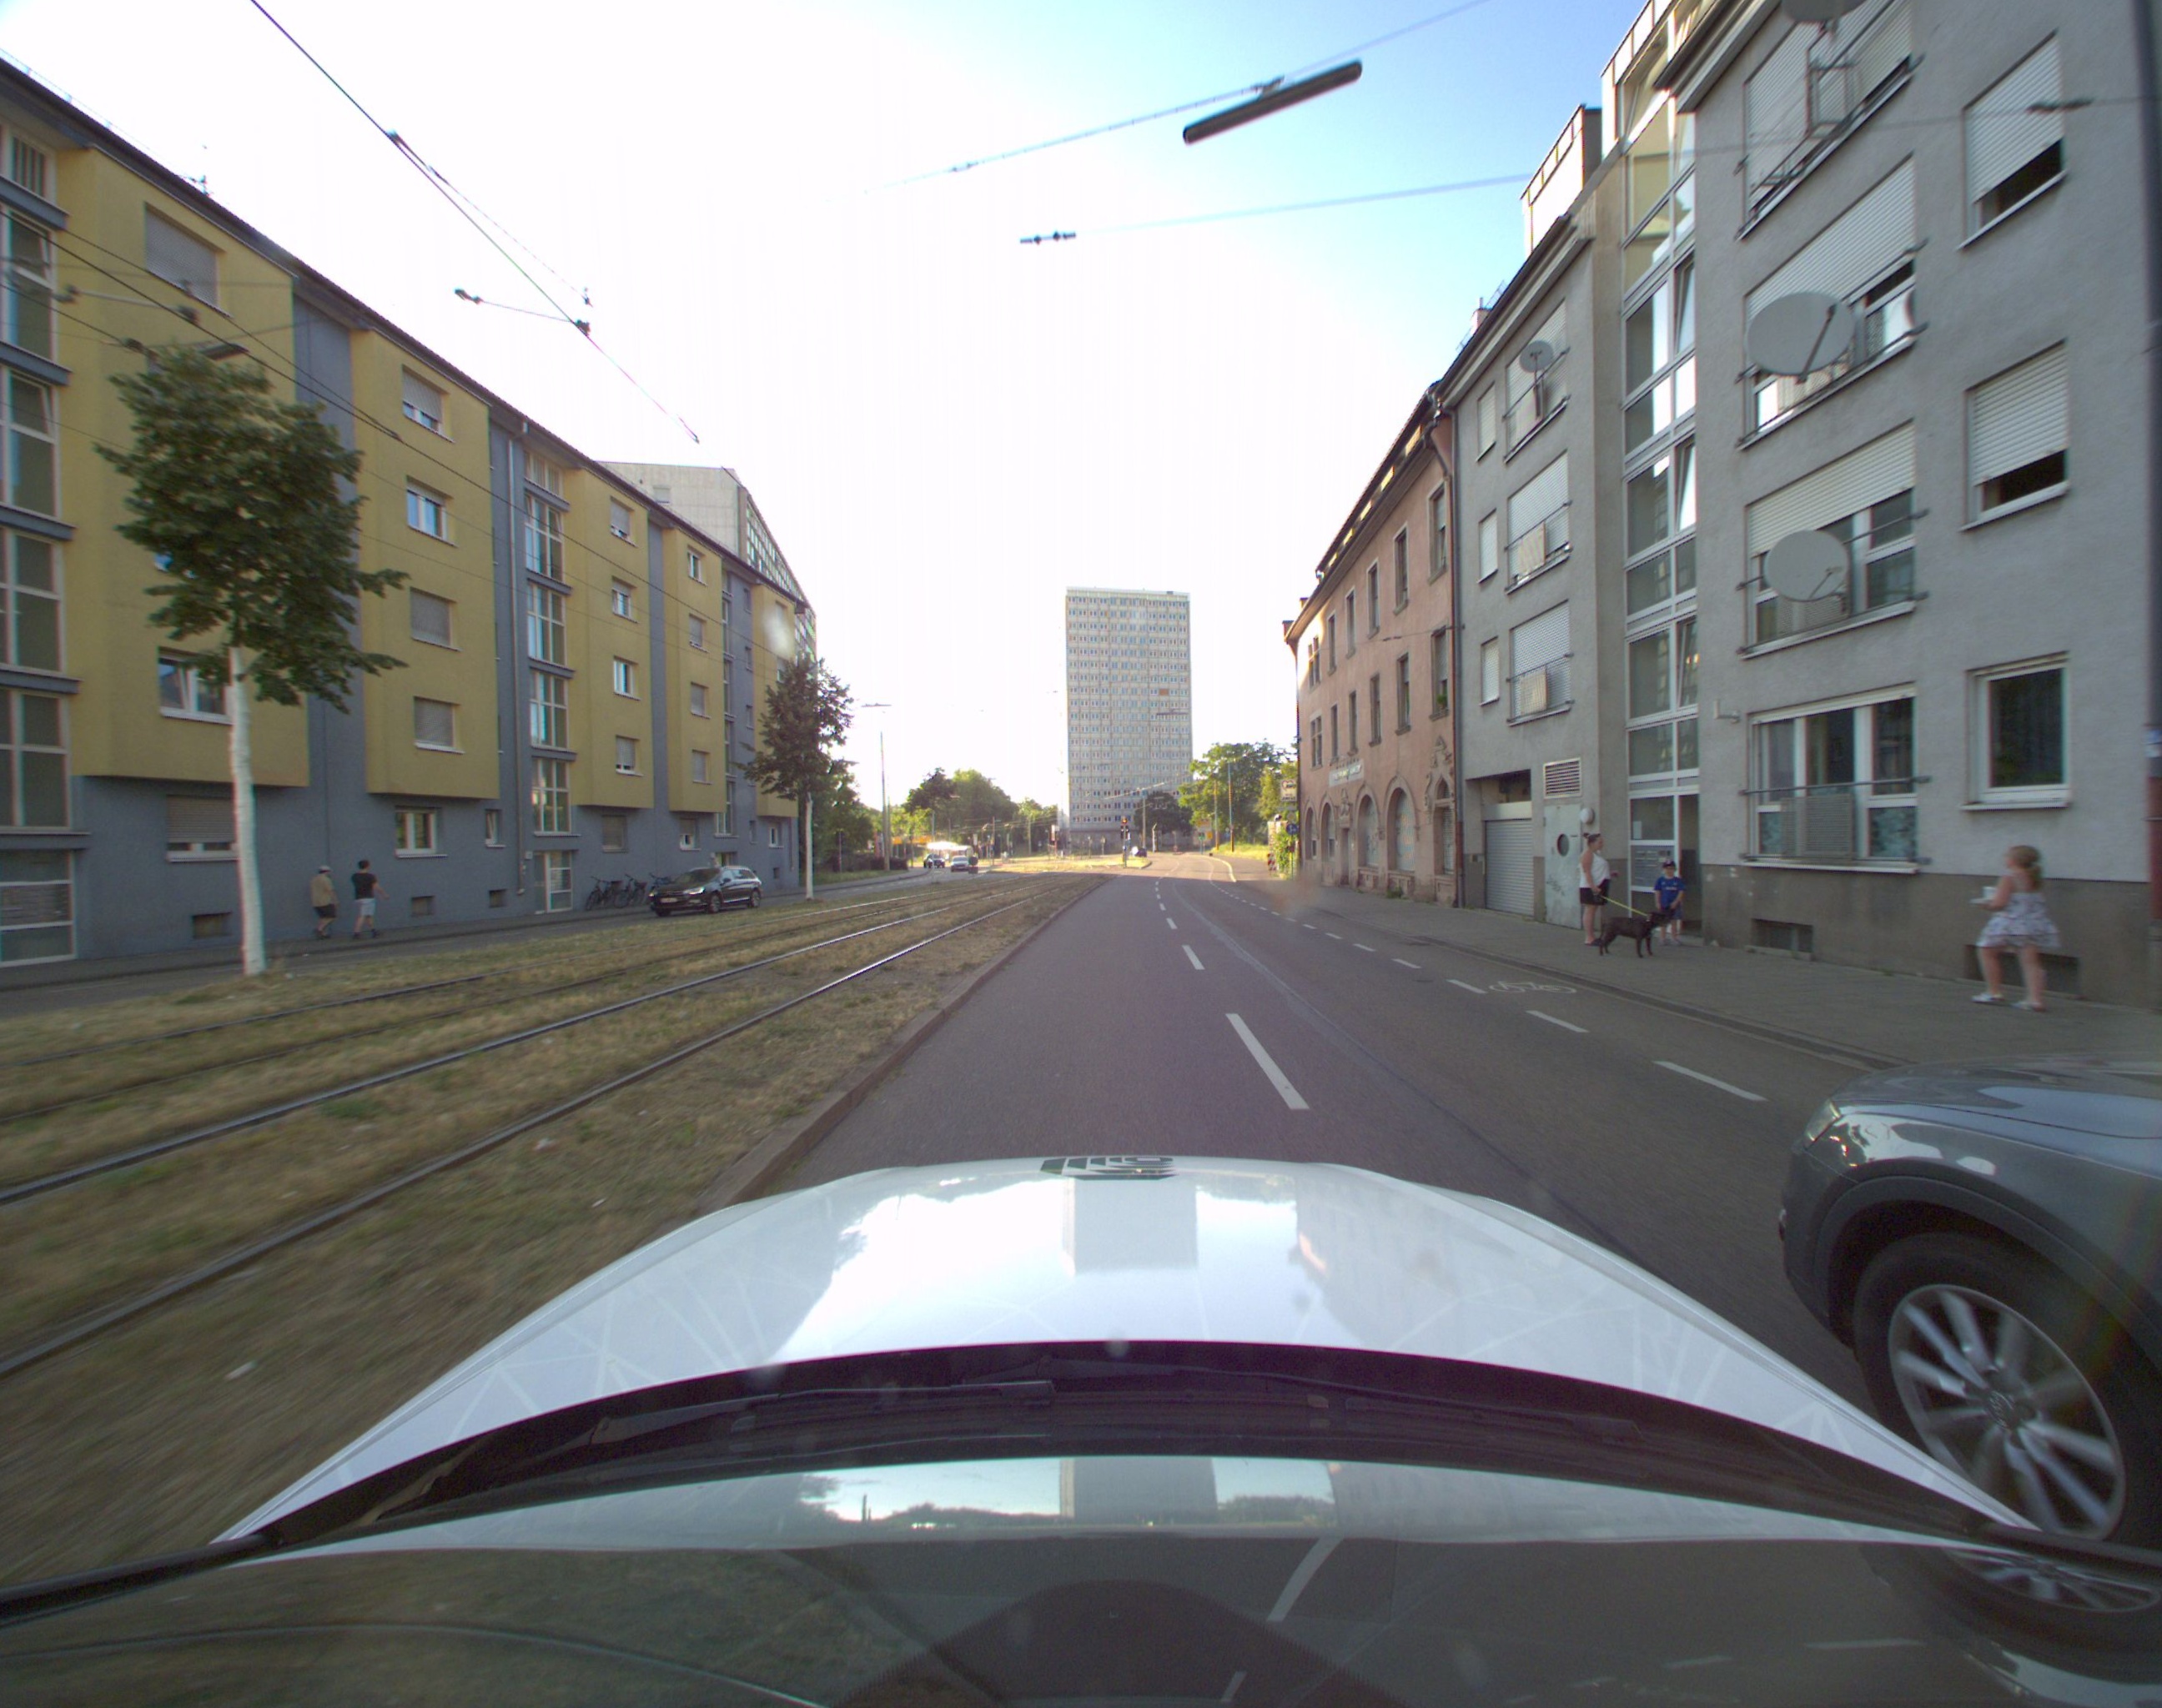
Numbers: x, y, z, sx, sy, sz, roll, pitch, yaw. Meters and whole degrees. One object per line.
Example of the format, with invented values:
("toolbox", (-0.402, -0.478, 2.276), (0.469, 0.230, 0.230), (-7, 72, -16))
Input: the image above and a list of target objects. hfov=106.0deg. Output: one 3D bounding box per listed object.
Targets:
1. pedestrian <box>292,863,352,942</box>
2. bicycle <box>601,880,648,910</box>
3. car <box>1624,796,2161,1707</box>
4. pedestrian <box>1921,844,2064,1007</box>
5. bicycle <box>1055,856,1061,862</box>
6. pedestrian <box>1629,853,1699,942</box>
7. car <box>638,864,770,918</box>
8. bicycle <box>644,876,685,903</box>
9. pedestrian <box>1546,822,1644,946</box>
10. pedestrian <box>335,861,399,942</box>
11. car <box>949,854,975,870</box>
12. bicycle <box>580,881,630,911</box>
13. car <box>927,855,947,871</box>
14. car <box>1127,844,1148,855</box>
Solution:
("pedestrian", (-17.171, 1.079, 18.435), (0.614, 1.694, 0.707), (3, 1, 3))
("bicycle", (-16.430, 1.460, 29.350), (0.425, 0.925, 1.914), (2, 0, 5))
("car", (2.739, 0.684, 0.764), (1.760, 1.587, 4.068), (-1, 1, 0))
("pedestrian", (7.969, 0.602, 7.146), (0.512, 1.344, 0.609), (-2, -1, -1))
("bicycle", (-3.722, 0.790, 131.018), (0.550, 0.917, 1.748), (-3, 1, 11))
("pedestrian", (8.518, 0.617, 11.907), (0.585, 1.251, 0.585), (-2, 0, 3))
("car", (-12.194, 1.142, 26.736), (1.785, 1.469, 4.800), (-3, 0, 3))
("bicycle", (-16.223, 1.371, 31.753), (0.425, 0.960, 1.914), (-2, 0, 5))
("pedestrian", (7.723, 0.427, 12.283), (0.826, 1.771, 0.997), (-2, 0, 3))
("pedestrian", (-16.309, 1.063, 18.626), (0.590, 1.773, 0.886), (3, 1, 3))
("car", (-11.326, 0.756, 77.931), (1.691, 1.460, 4.317), (-3, 0, 1))
("bicycle", (-16.380, 1.435, 28.071), (0.425, 0.925, 1.914), (2, 0, 5))
("car", (-17.365, 1.052, 98.149), (1.922, 1.661, 4.684), (-3, 1, -15))
("car", (7.826, -0.655, 113.376), (1.774, 1.422, 3.839), (-2, 1, -13))
